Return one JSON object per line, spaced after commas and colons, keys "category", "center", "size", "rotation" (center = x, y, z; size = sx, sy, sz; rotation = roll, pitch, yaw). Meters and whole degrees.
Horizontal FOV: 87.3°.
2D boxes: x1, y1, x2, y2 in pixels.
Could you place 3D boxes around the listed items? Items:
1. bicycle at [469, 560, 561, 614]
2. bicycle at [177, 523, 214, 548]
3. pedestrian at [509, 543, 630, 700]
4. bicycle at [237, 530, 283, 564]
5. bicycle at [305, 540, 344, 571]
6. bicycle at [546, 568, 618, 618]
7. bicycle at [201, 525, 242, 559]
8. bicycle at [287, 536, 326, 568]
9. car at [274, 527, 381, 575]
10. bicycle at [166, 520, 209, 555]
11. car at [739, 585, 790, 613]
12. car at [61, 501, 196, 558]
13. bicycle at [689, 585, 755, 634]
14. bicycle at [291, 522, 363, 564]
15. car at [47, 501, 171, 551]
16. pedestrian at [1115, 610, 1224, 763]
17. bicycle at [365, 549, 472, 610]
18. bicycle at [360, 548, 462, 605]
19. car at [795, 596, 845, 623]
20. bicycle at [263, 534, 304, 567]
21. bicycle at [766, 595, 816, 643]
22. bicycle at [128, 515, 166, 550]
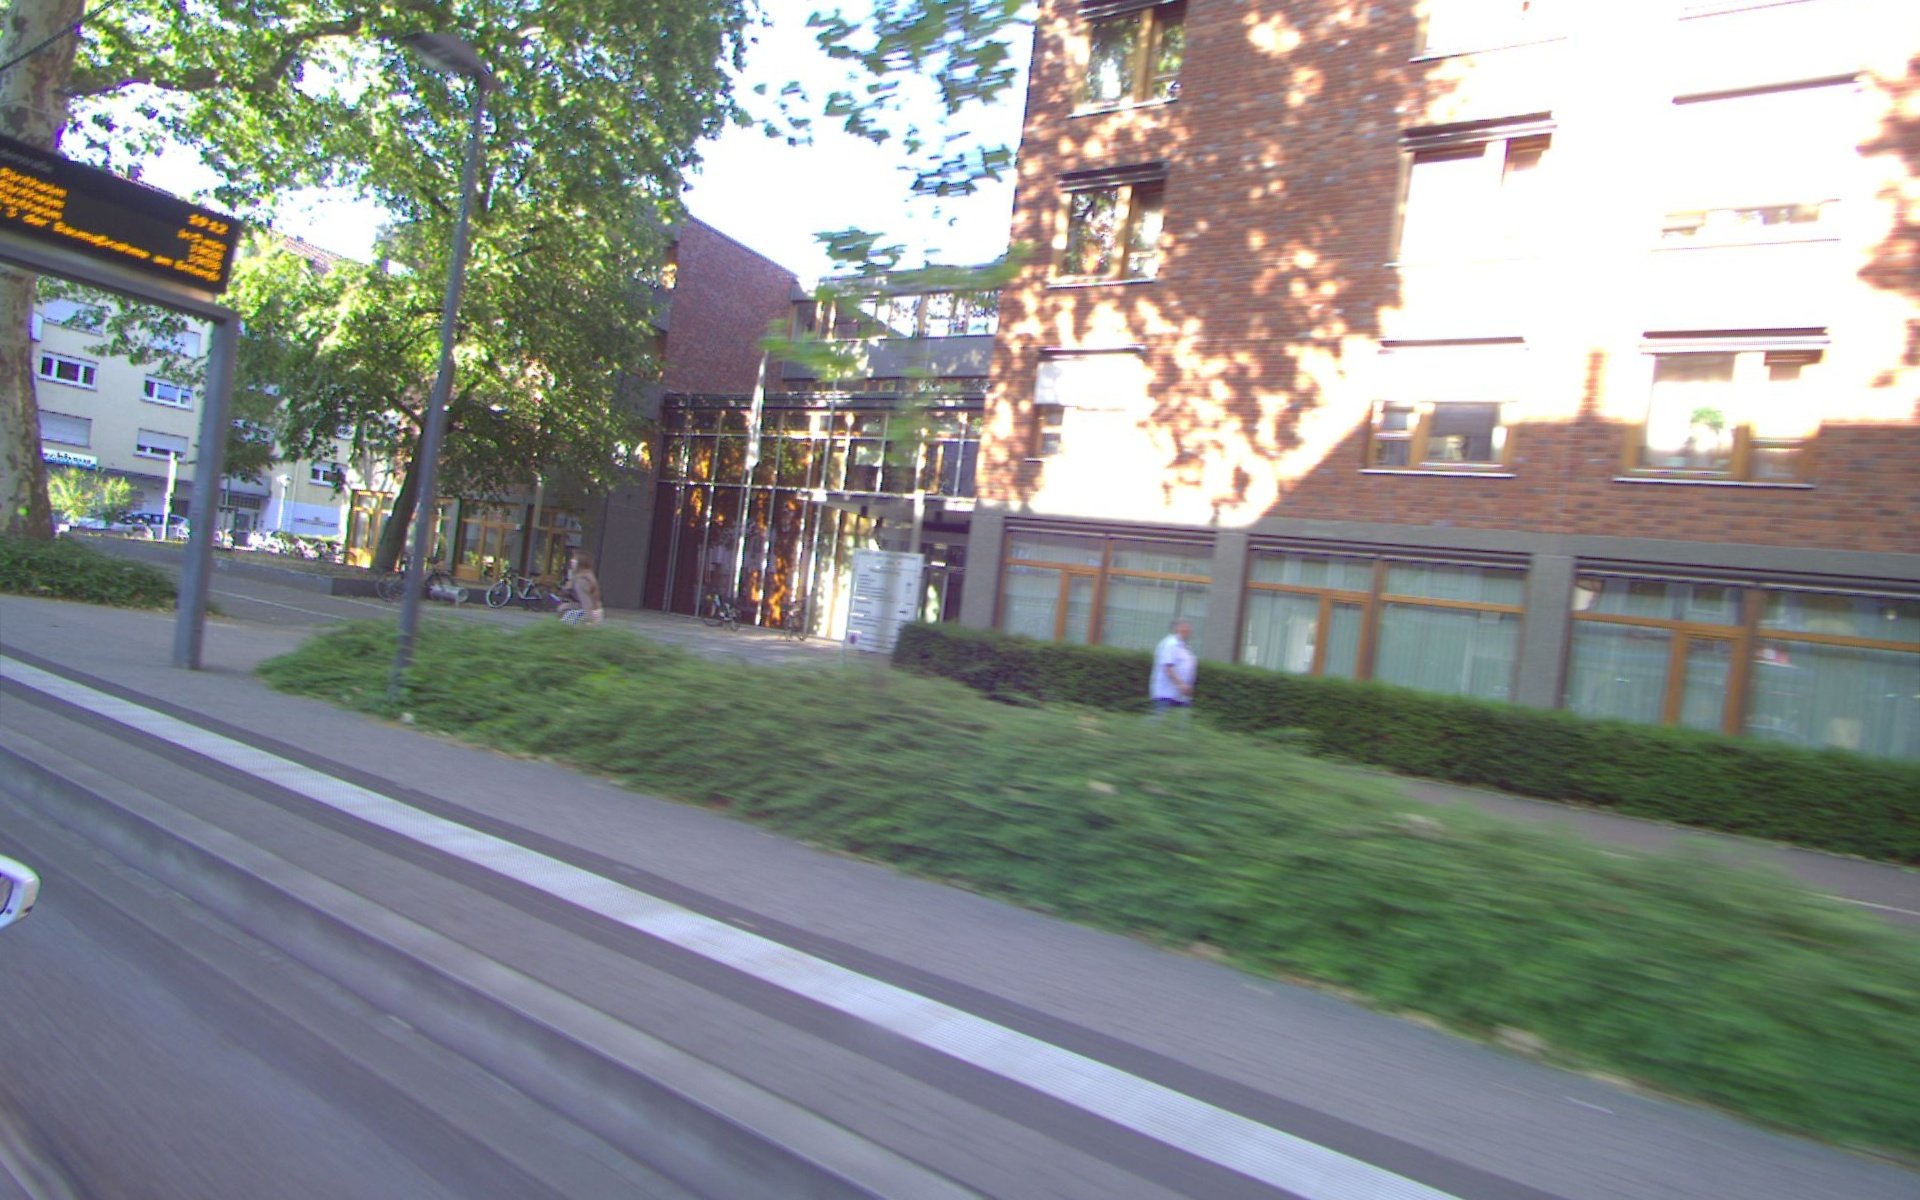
{"category": "bicycle", "center": [-11.139, -0.298, 25.250], "size": [0.563, 1.171, 2.030], "rotation": [7, 1, 36]}
{"category": "bicycle", "center": [-40.292, -3.376, 53.025], "size": [0.591, 1.171, 1.696], "rotation": [6, 1, -3]}
{"category": "pedestrian", "center": [-4.537, 0.257, 11.693], "size": [0.902, 1.680, 0.767], "rotation": [7, 0, 32]}
{"category": "bicycle", "center": [-28.761, -2.169, 41.315], "size": [2.017, 1.171, 0.731], "rotation": [7, 1, 32]}
{"category": "bicycle", "center": [-27.481, -1.915, 43.485], "size": [1.669, 1.171, 0.661], "rotation": [7, 2, 31]}
{"category": "bicycle", "center": [-10.090, -0.173, 26.908], "size": [0.563, 1.171, 1.677], "rotation": [7, 1, 36]}
{"category": "bicycle", "center": [-29.613, -2.327, 40.328], "size": [1.950, 1.171, 0.636], "rotation": [7, 2, 34]}
{"category": "bicycle", "center": [-27.877, -2.060, 42.883], "size": [1.669, 1.171, 0.661], "rotation": [7, 2, 31]}
{"category": "car", "center": [-30.679, -2.354, 48.891], "size": [1.835, 1.713, 3.867], "rotation": [7, -1, 31]}
{"category": "bicycle", "center": [-30.052, -2.431, 39.139], "size": [1.668, 1.171, 0.601], "rotation": [7, 2, 27]}
{"category": "car", "center": [-16.423, -0.056, 84.627], "size": [1.835, 1.829, 3.867], "rotation": [10, 1, 31]}
{"category": "car", "center": [-34.611, -2.904, 41.979], "size": [1.835, 1.713, 3.867], "rotation": [7, -1, 31]}
{"category": "bicycle", "center": [-6.794, 0.249, 28.623], "size": [2.009, 1.171, 0.704], "rotation": [7, 2, 41]}
{"category": "bicycle", "center": [-21.376, -1.908, 33.993], "size": [1.921, 1.171, 0.565], "rotation": [6, 1, -43]}
{"category": "car", "center": [-38.887, -3.364, 46.057], "size": [1.835, 1.571, 3.867], "rotation": [10, 1, 31]}
{"category": "pedestrian", "center": [2.528, 1.029, 12.134], "size": [0.902, 1.680, 0.767], "rotation": [7, 0, 32]}
{"category": "bicycle", "center": [-12.380, -0.452, 23.052], "size": [0.564, 1.171, 2.027], "rotation": [7, 1, 41]}
{"category": "bicycle", "center": [-12.938, -0.539, 23.787], "size": [0.563, 1.171, 2.032], "rotation": [7, 1, 32]}
{"category": "car", "center": [-11.310, 0.810, 81.461], "size": [1.835, 1.713, 3.867], "rotation": [7, -1, 31]}
{"category": "bicycle", "center": [-28.386, -2.087, 42.195], "size": [1.820, 1.171, 0.661], "rotation": [7, 2, 31]}
{"category": "bicycle", "center": [-4.511, 0.504, 26.983], "size": [0.719, 1.171, 1.950], "rotation": [6, 1, 6]}
{"category": "bicycle", "center": [-31.135, -2.596, 38.520], "size": [1.671, 1.171, 0.600], "rotation": [7, 2, 35]}
